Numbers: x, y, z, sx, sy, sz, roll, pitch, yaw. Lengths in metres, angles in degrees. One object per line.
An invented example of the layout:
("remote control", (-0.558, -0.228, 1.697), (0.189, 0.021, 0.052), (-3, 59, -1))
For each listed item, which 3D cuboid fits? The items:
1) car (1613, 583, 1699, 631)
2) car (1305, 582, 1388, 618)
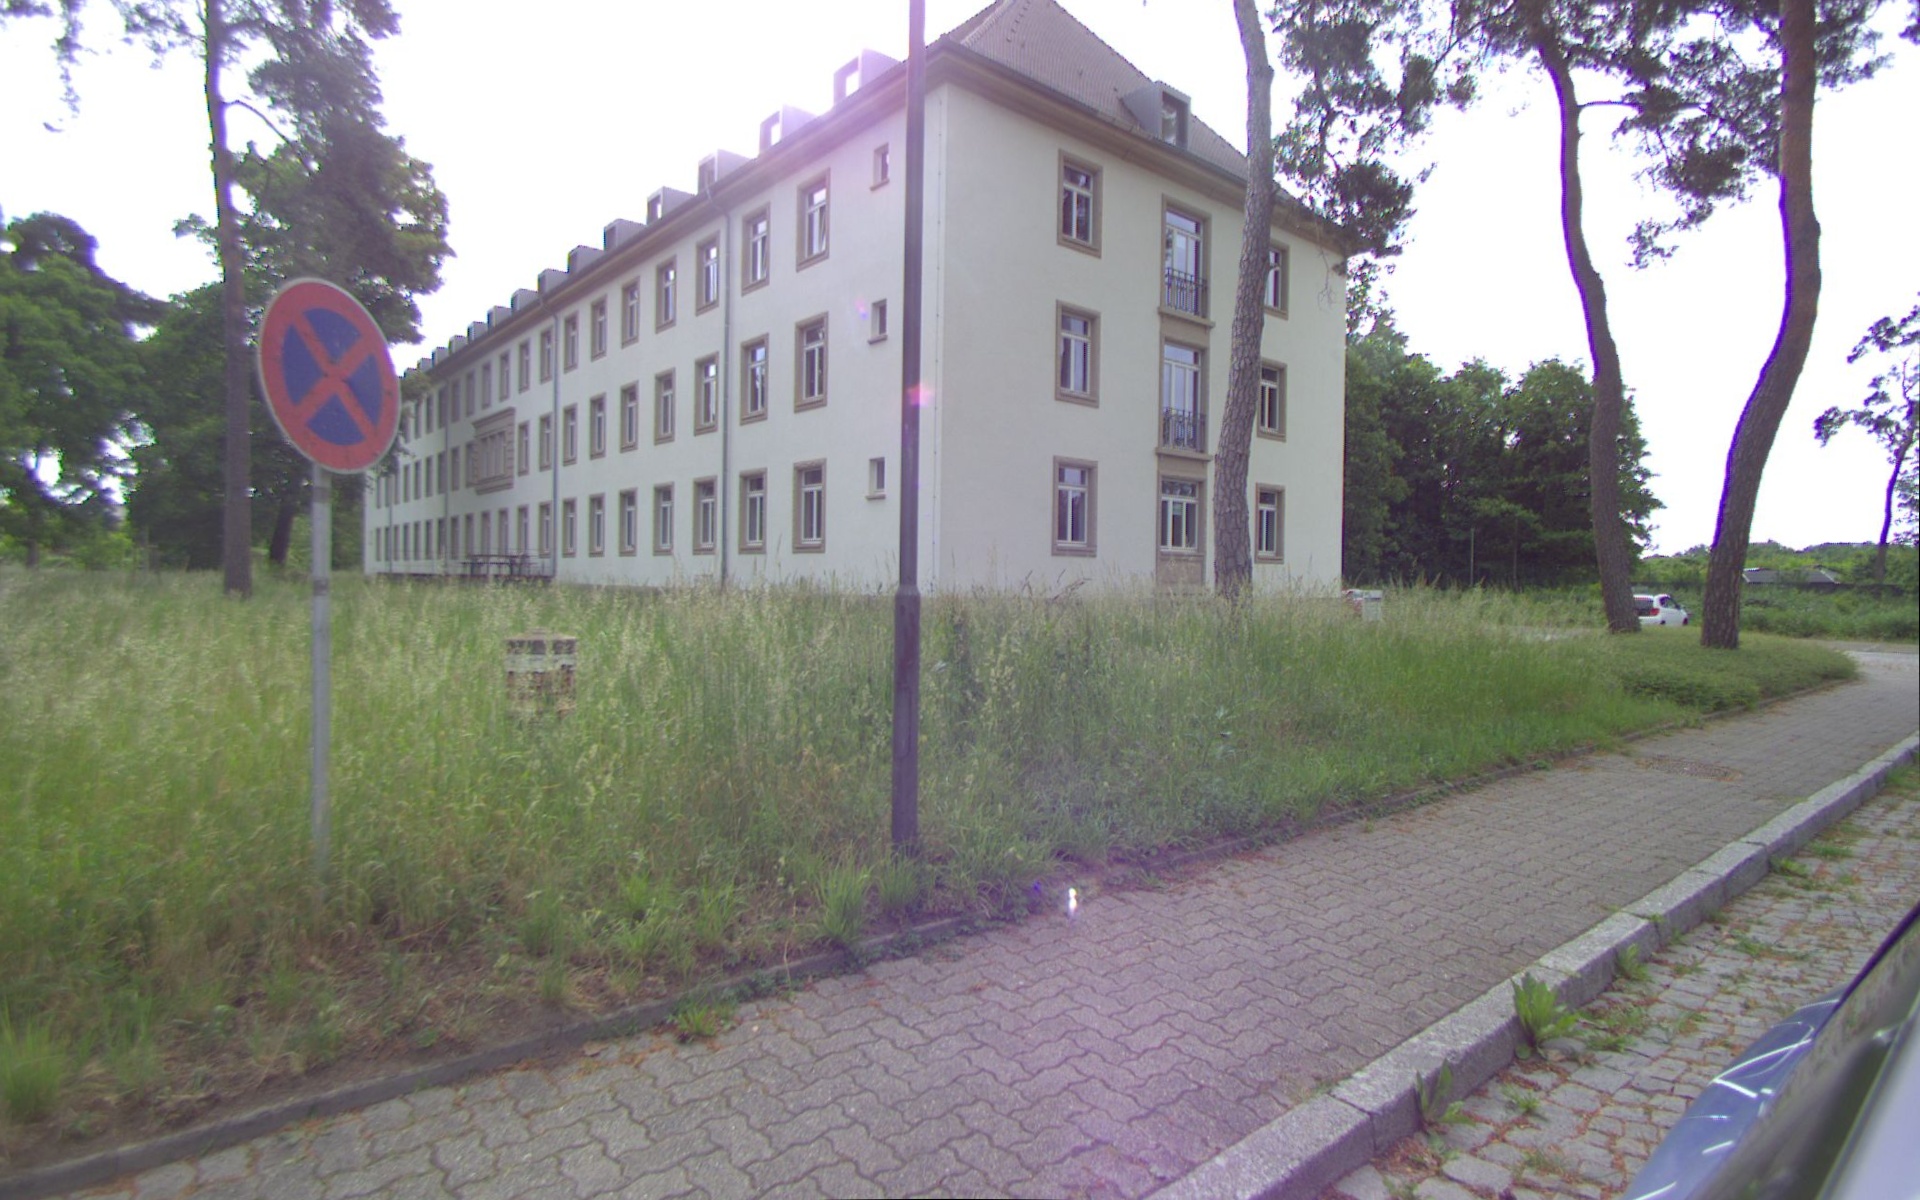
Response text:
("car", (23.985, 0.213, 34.850), (3.221, 1.451, 1.640), (-3, 3, -40))
("car", (16.584, -0.053, 43.384), (3.931, 1.344, 1.640), (-3, 3, -40))
